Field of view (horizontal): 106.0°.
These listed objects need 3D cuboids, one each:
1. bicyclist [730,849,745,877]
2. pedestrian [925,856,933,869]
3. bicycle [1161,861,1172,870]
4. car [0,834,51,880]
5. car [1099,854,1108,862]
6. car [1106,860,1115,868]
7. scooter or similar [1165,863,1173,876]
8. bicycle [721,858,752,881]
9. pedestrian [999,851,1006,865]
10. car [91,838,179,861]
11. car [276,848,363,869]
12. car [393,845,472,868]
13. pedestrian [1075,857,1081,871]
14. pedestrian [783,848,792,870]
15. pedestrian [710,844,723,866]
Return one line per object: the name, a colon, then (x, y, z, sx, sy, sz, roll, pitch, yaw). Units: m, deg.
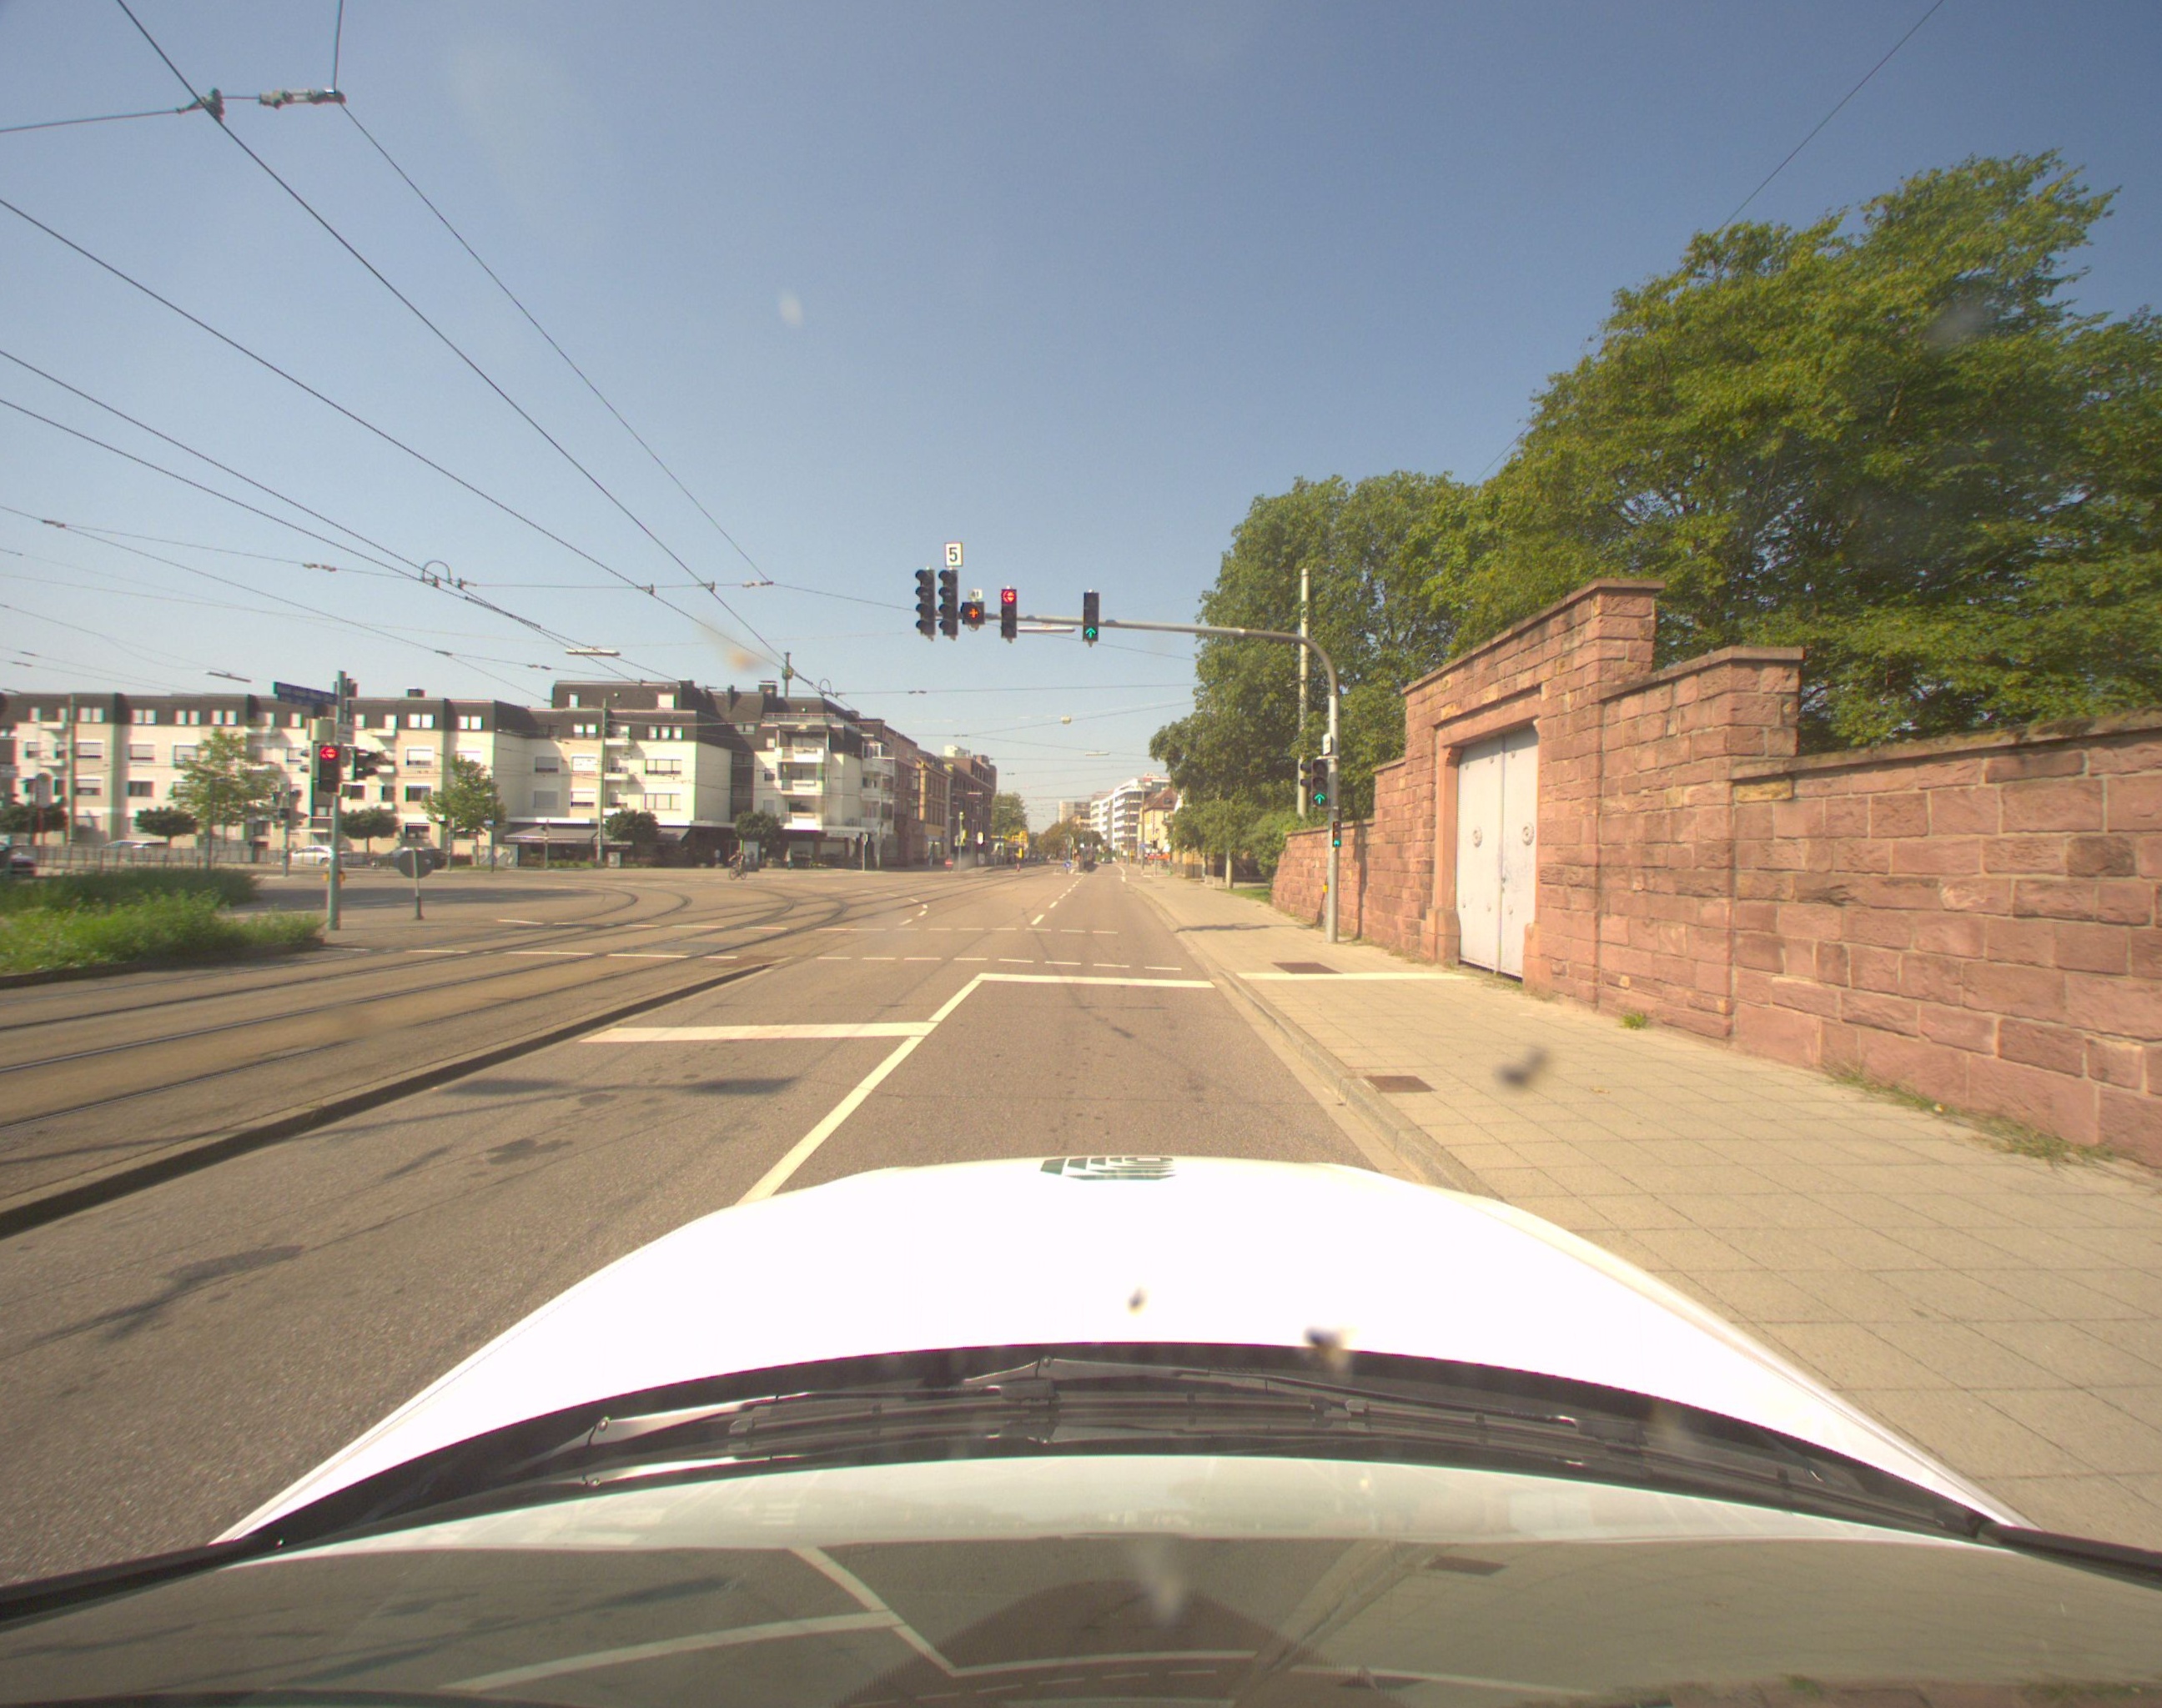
bicyclist: (-18.577, 0.492, 44.003, 0.566, 1.523, 0.490, -1, -1, 3)
pedestrian: (-18.039, 0.998, 96.694, 0.479, 1.560, 0.890, 2, -2, 13)
bicycle: (10.576, 1.426, 100.951, 0.730, 1.133, 2.834, -2, 0, -5)
car: (-46.458, 0.072, 34.274, 3.996, 1.886, 1.825, 2, 0, 3)
car: (5.444, 0.986, 197.389, 2.003, 1.859, 4.003, -1, -1, 3)
car: (6.830, 2.238, 191.093, 2.003, 1.859, 4.003, -1, -1, 3)
scooter or similar: (7.515, 1.313, 69.512, 0.521, 1.133, 1.512, -1, -1, 3)
bicycle: (-18.577, 0.824, 43.979, 0.572, 1.179, 2.210, -1, 0, 4)
pedestrian: (-9.705, 0.507, 100.228, 0.705, 1.723, 0.799, -1, -1, 2)
car: (-62.718, -0.279, 54.055, 3.891, 1.481, 1.673, -1, -1, 1)
car: (-49.982, 0.297, 53.501, 4.094, 1.299, 1.673, -1, -1, 1)
car: (-47.250, 0.197, 59.405, 4.094, 1.507, 1.930, 2, -1, 1)
pedestrian: (-0.367, 1.213, 98.333, 0.717, 1.703, 0.885, -1, -1, 3)
pedestrian: (-23.424, 0.375, 65.016, 0.602, 1.745, 0.560, 0, -1, -32)
pedestrian: (-29.630, 0.084, 66.149, 0.677, 1.741, 0.698, -1, -1, 3)
